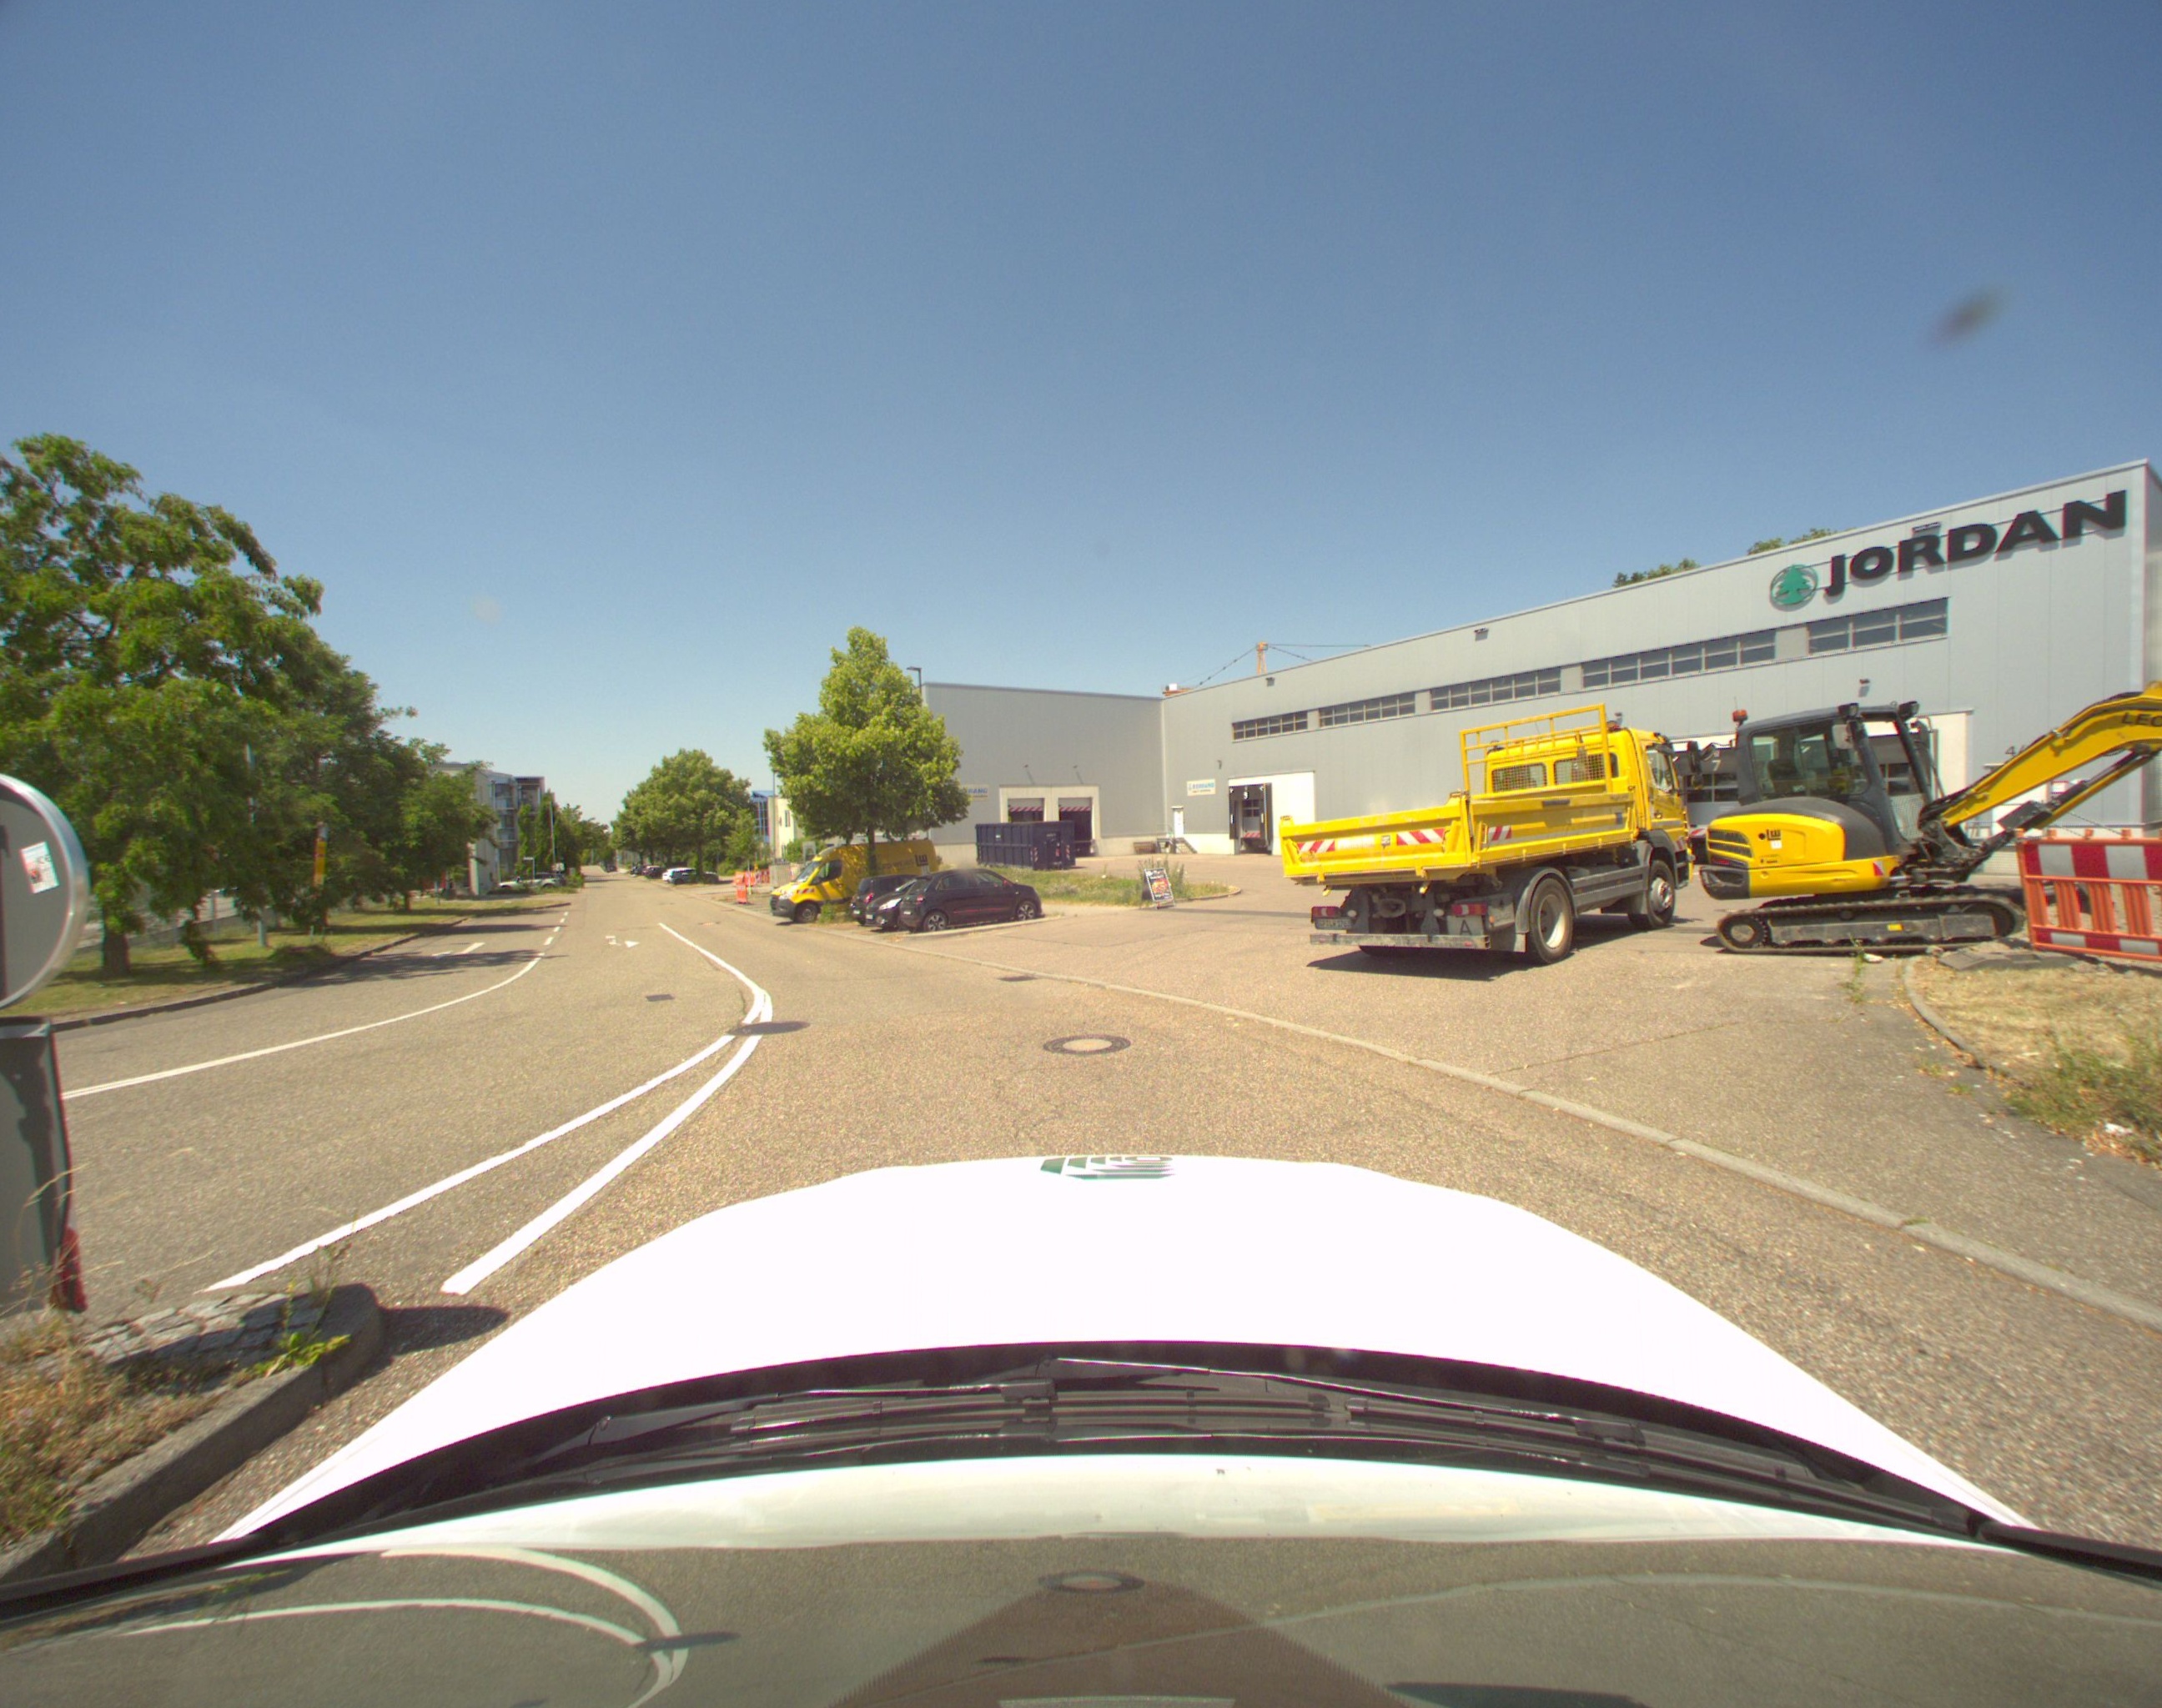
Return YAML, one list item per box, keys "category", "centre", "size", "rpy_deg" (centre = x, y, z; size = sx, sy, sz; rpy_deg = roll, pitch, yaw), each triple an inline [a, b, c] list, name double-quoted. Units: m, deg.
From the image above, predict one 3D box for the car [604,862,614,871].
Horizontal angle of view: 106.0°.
- category: "car"
  centre: [-95.690, 2.518, 165.145]
  size: [1.772, 1.755, 3.906]
  rpy_deg: [-2, 0, -31]

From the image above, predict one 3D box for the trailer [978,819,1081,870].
- category: "trailer"
  centre: [-2.933, -0.609, 43.912]
  size: [2.675, 2.420, 7.346]
  rpy_deg: [-1, 3, -29]

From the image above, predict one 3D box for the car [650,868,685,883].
- category: "car"
  centre: [-51.164, 2.675, 100.759]
  size: [3.747, 1.626, 1.796]
  rpy_deg: [-2, 0, -32]

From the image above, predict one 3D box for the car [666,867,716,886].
- category: "car"
  centre: [-35.132, 2.020, 73.386]
  size: [3.708, 1.354, 1.627]
  rpy_deg: [-6, 2, -36]

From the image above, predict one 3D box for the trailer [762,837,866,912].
- category: "trailer"
  centre: [-11.742, 0.841, 35.512]
  size: [2.677, 2.856, 5.460]
  rpy_deg: [-5, 2, -35]

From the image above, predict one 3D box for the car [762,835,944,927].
- category: "car"
  centre: [-8.070, 0.858, 29.100]
  size: [5.821, 2.732, 1.979]
  rpy_deg: [-4, 2, -33]

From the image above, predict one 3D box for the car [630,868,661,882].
- category: "car"
  centre: [-66.077, 3.189, 123.590]
  size: [3.964, 1.834, 1.747]
  rpy_deg: [-2, 4, -39]

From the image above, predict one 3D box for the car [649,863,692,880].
- category: "car"
  centre: [-40.806, 1.767, 81.041]
  size: [3.544, 1.354, 1.521]
  rpy_deg: [-6, 2, -36]

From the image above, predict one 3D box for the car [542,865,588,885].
- category: "car"
  centre: [-42.927, 1.736, 67.756]
  size: [3.083, 1.478, 1.278]
  rpy_deg: [-1, 0, -38]

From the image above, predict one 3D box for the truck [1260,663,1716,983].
- category: "truck"
  centre: [5.670, -0.487, 10.872]
  size: [6.454, 3.136, 2.567]
  rpy_deg: [-5, 1, -36]

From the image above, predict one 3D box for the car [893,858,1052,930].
- category: "car"
  centre: [-2.779, 0.982, 21.130]
  size: [3.685, 1.462, 1.611]
  rpy_deg: [-5, 1, -32]

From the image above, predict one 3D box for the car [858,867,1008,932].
- category: "car"
  centre: [-4.141, 1.224, 22.930]
  size: [3.798, 1.507, 1.574]
  rpy_deg: [-3, 0, -34]

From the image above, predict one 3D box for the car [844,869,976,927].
- category: "car"
  centre: [-5.260, 1.306, 25.229]
  size: [3.628, 1.478, 1.611]
  rpy_deg: [-3, 0, -33]

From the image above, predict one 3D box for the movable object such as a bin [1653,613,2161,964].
- category: "movable object such as a bin"
  centre: [8.758, -0.505, 6.586]
  size: [2.004, 2.581, 6.520]
  rpy_deg: [-2, -1, -26]

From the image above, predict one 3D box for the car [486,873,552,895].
- category: "car"
  centre: [-43.003, 2.254, 62.430]
  size: [4.075, 1.495, 1.710]
  rpy_deg: [-2, 0, -34]
